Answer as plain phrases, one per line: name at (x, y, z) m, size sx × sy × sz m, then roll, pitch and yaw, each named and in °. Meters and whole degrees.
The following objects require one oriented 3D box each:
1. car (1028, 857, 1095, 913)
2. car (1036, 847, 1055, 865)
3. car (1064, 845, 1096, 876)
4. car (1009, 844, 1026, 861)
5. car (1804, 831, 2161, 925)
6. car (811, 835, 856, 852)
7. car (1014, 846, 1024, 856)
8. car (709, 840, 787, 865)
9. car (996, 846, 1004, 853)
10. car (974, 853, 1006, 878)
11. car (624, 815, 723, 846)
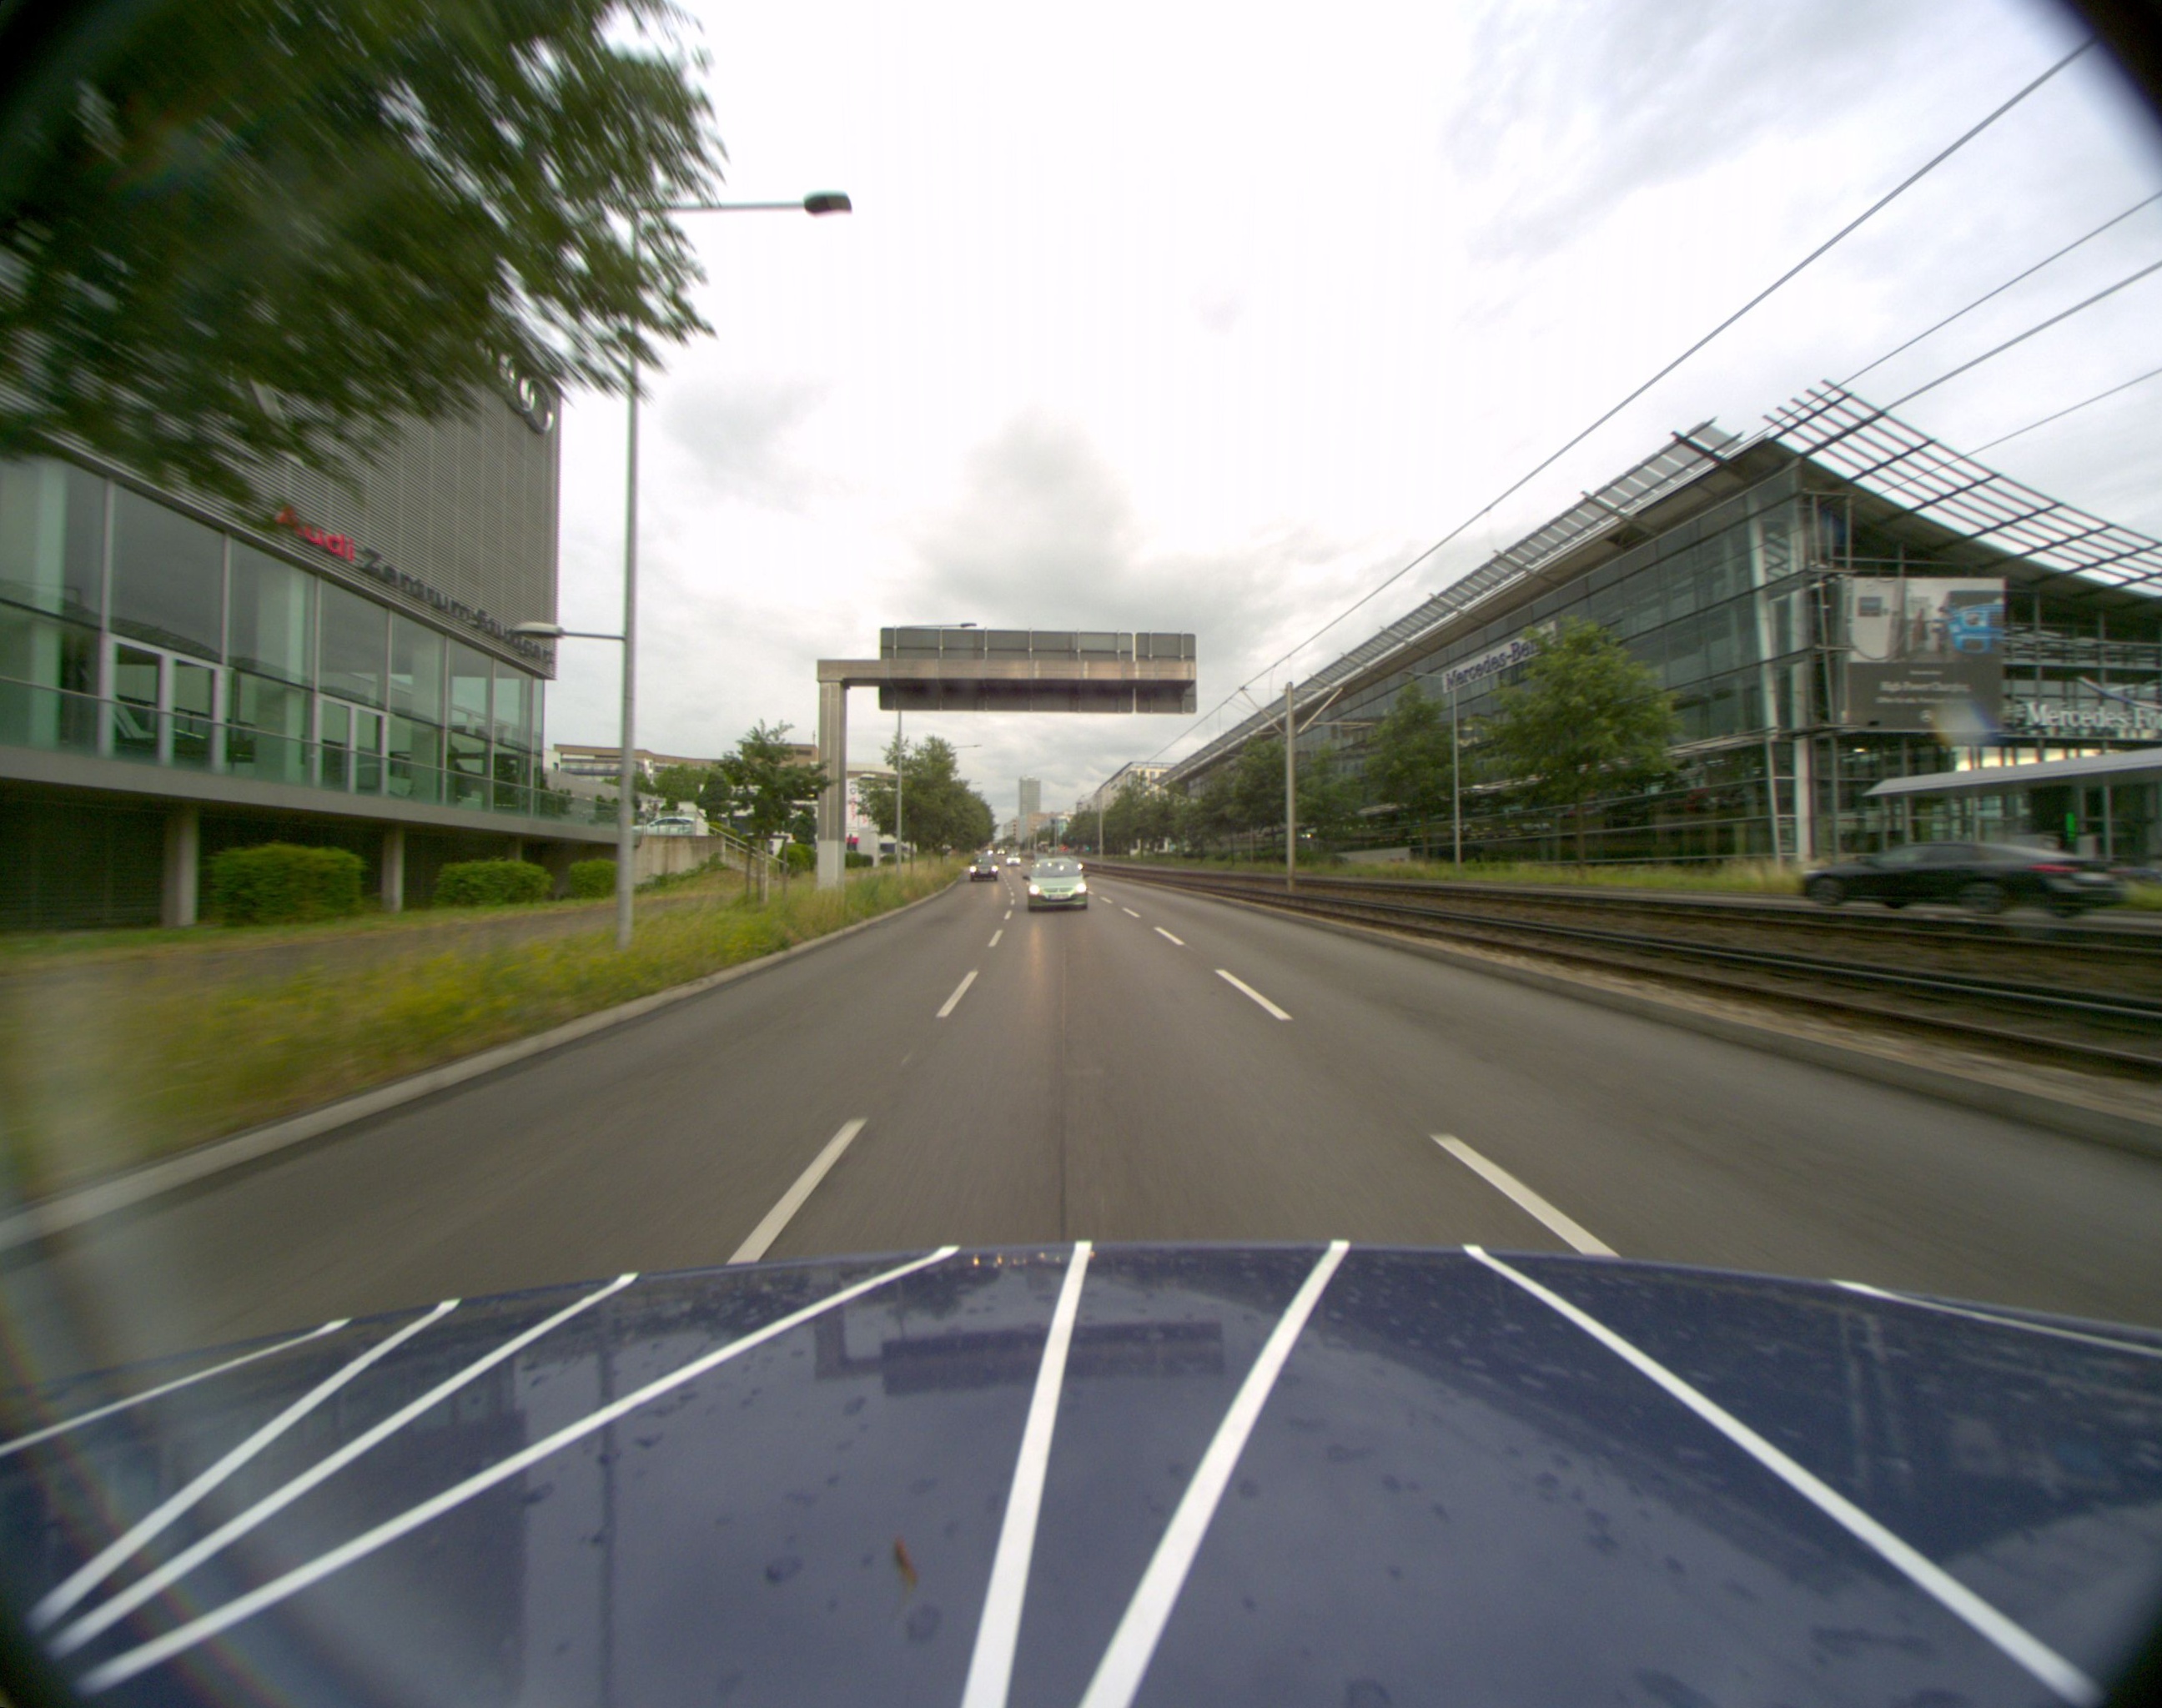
car at (-0.659, 0.875, 23.272) m, size 1.829 × 1.499 × 4.112 m, roll -2°, pitch 0°, yaw -3°
car at (-3.680, 0.219, 78.342) m, size 1.861 × 1.799 × 4.112 m, roll -1°, pitch -1°, yaw -4°
car at (-0.100, 0.433, 55.699) m, size 1.999 × 2.002 × 3.997 m, roll -2°, pitch 2°, yaw -4°
car at (-8.061, -0.255, 96.519) m, size 1.999 × 2.002 × 3.997 m, roll -2°, pitch 2°, yaw -4°
car at (17.306, 0.409, 14.876) m, size 1.888 × 1.512 × 4.401 m, roll 2°, pitch 0°, yaw -4°
car at (-24.753, -1.109, 76.040) m, size 4.121 × 1.585 × 1.945 m, roll -1°, pitch 2°, yaw -15°
car at (-14.026, -0.750, 171.113) m, size 1.999 × 2.002 × 3.997 m, roll -2°, pitch 2°, yaw -6°
car at (-22.242, -0.088, 50.898) m, size 4.435 × 1.565 × 1.691 m, roll -1°, pitch 1°, yaw -8°
car at (-23.496, -1.283, 220.303) m, size 1.999 × 1.838 × 3.997 m, roll -2°, pitch 2°, yaw -5°
car at (-6.071, 0.770, 51.076) m, size 1.829 × 1.599 × 4.113 m, roll -1°, pitch -1°, yaw -3°
car at (-21.612, -1.244, 40.439) m, size 4.273 × 1.565 × 1.691 m, roll -1°, pitch 1°, yaw -8°
